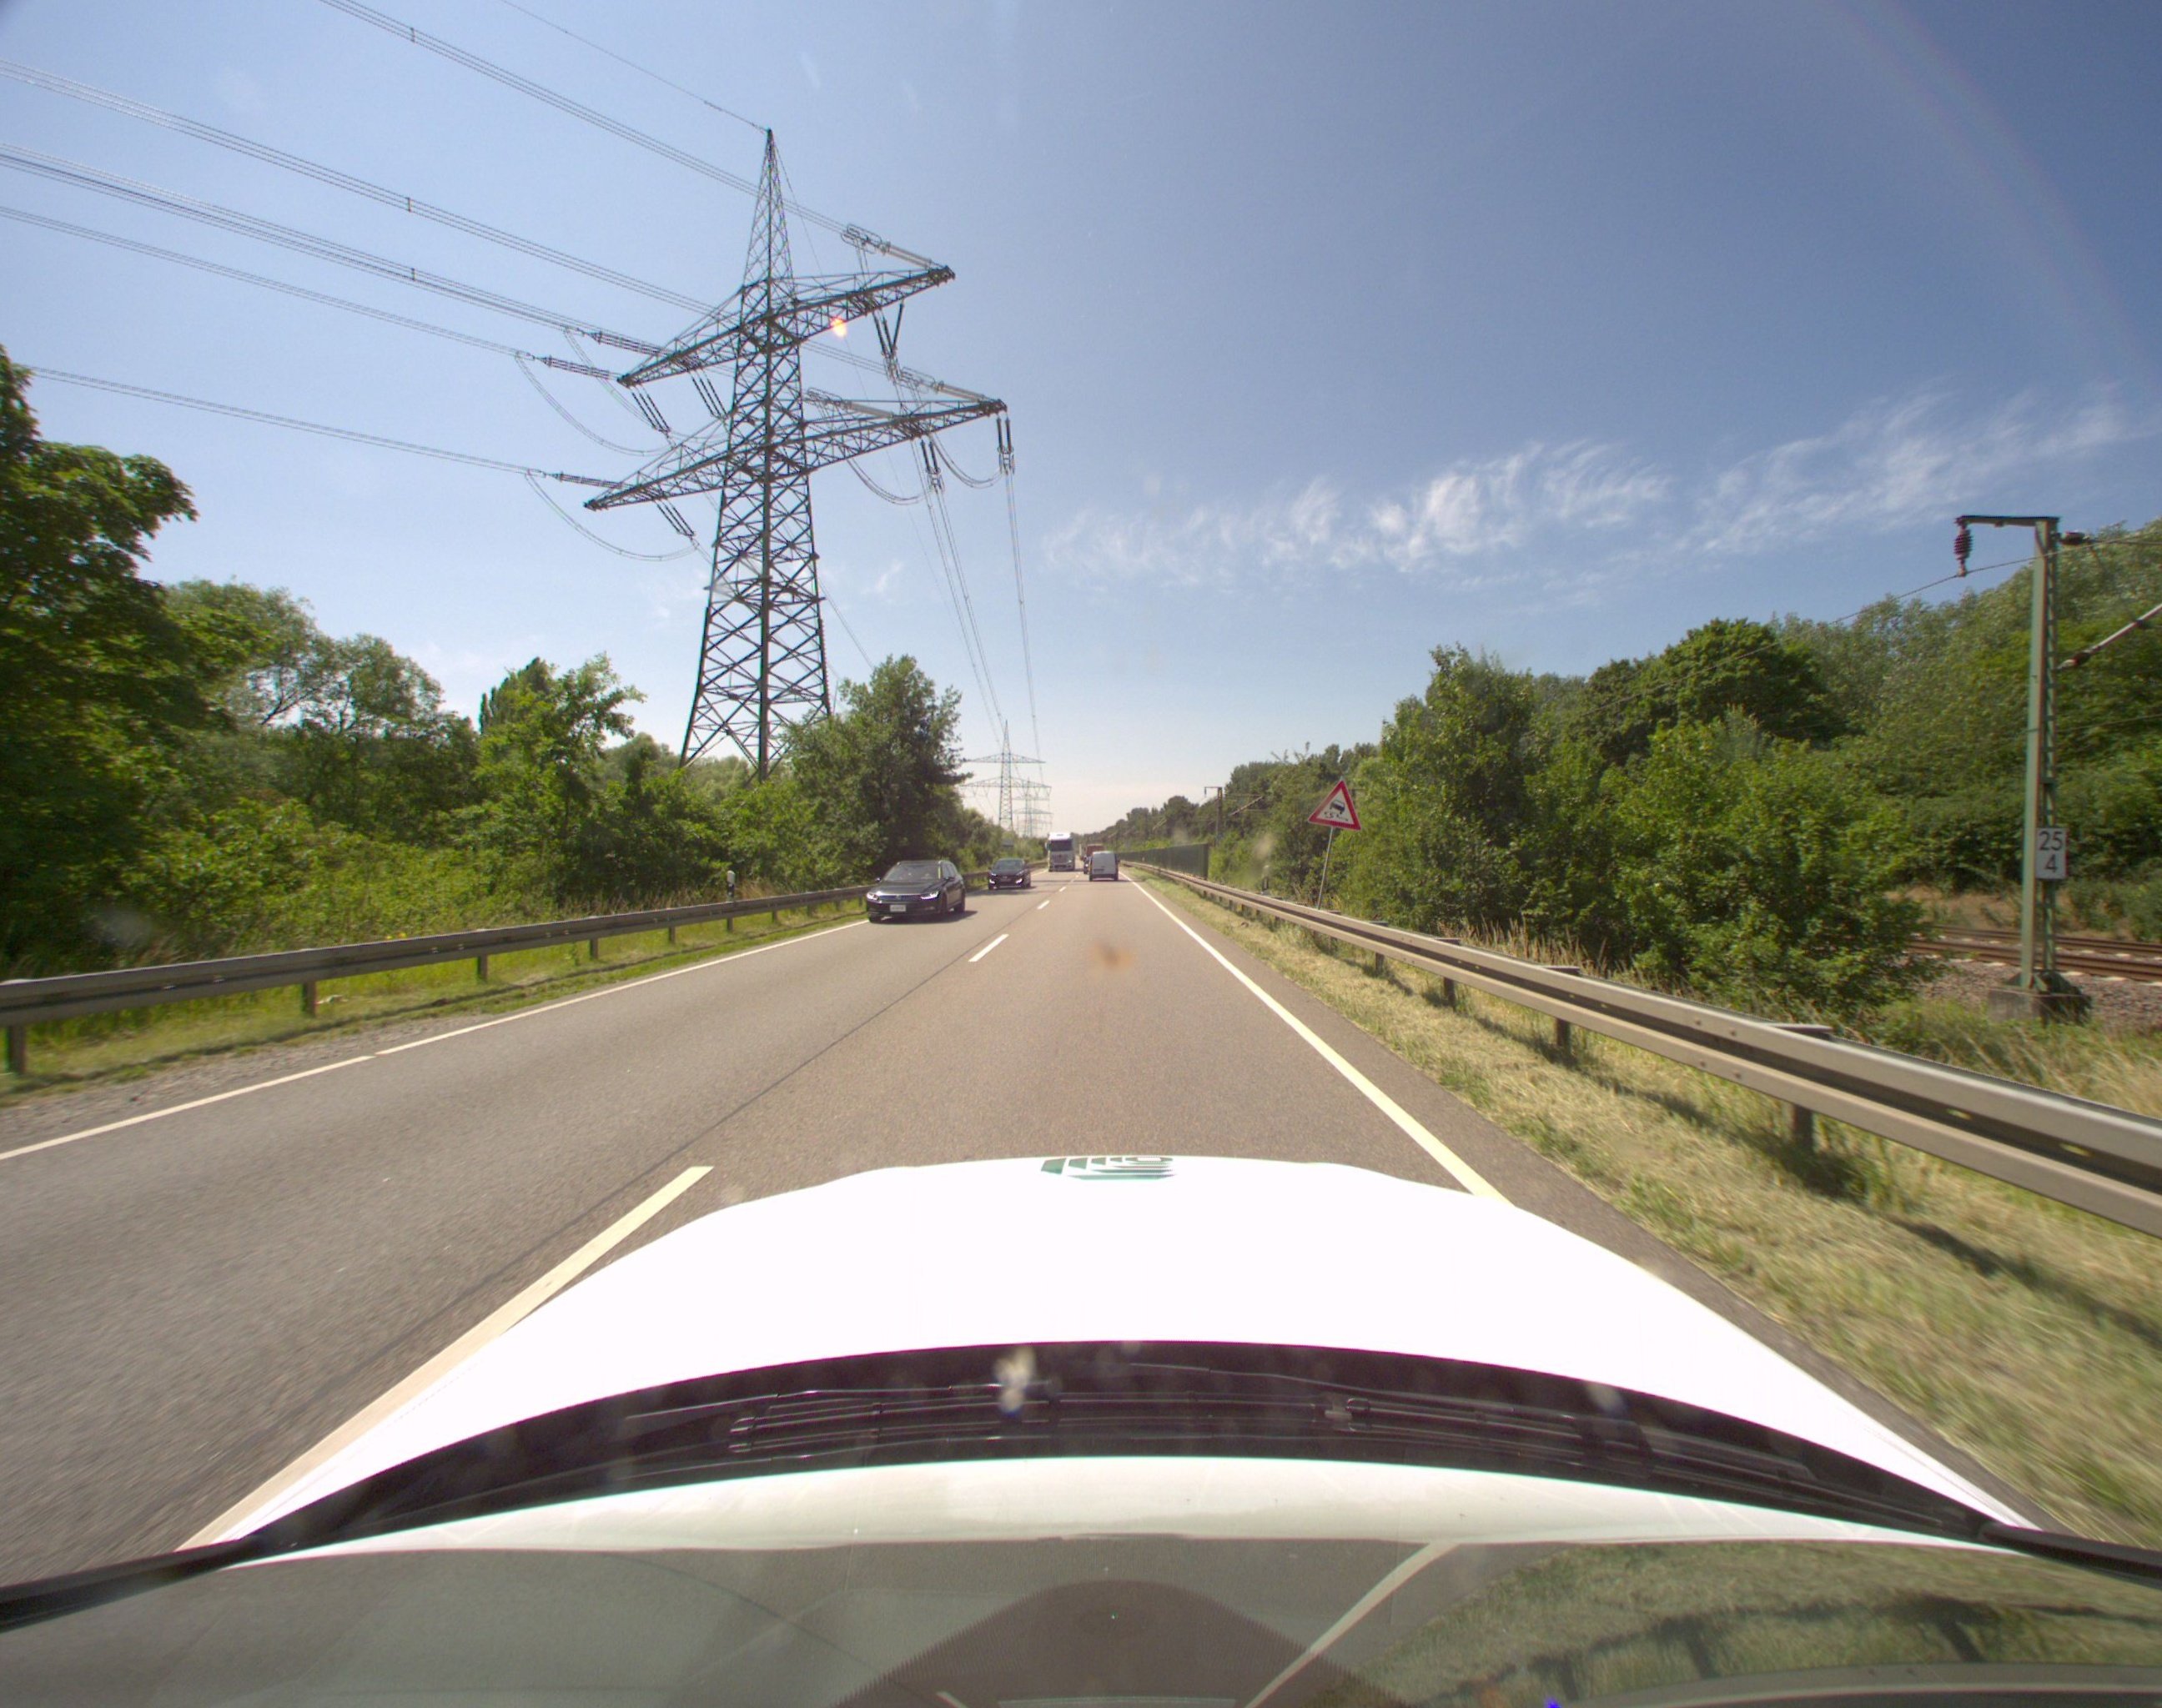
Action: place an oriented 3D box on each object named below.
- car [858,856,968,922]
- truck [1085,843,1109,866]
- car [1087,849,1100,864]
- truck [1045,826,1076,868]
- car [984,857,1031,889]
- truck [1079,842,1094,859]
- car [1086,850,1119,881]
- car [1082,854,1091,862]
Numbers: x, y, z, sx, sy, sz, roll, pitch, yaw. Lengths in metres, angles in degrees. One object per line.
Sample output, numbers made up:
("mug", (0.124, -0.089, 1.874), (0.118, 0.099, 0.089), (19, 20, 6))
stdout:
("car", (-4.187, 0.826, 20.979), (1.838, 1.497, 4.002), (-1, 0, 2))
("truck", (2.394, 0.026, 125.287), (3.286, 3.171, 14.404), (2, 1, 0))
("car", (1.700, 0.394, 113.819), (1.758, 2.013, 4.000), (2, 0, 0))
("truck", (-2.046, -0.716, 85.771), (2.733, 4.042, 9.666), (-2, 0, 1))
("car", (-3.564, 0.895, 40.065), (1.794, 1.454, 4.002), (-1, 0, 2))
("truck", (1.298, -0.897, 207.147), (3.392, 3.854, 16.812), (2, 1, -1))
("car", (1.277, 0.667, 49.731), (1.869, 1.741, 4.000), (1, 0, 0))
("car", (1.197, 0.814, 174.122), (1.987, 1.526, 4.000), (-1, 0, 1))
